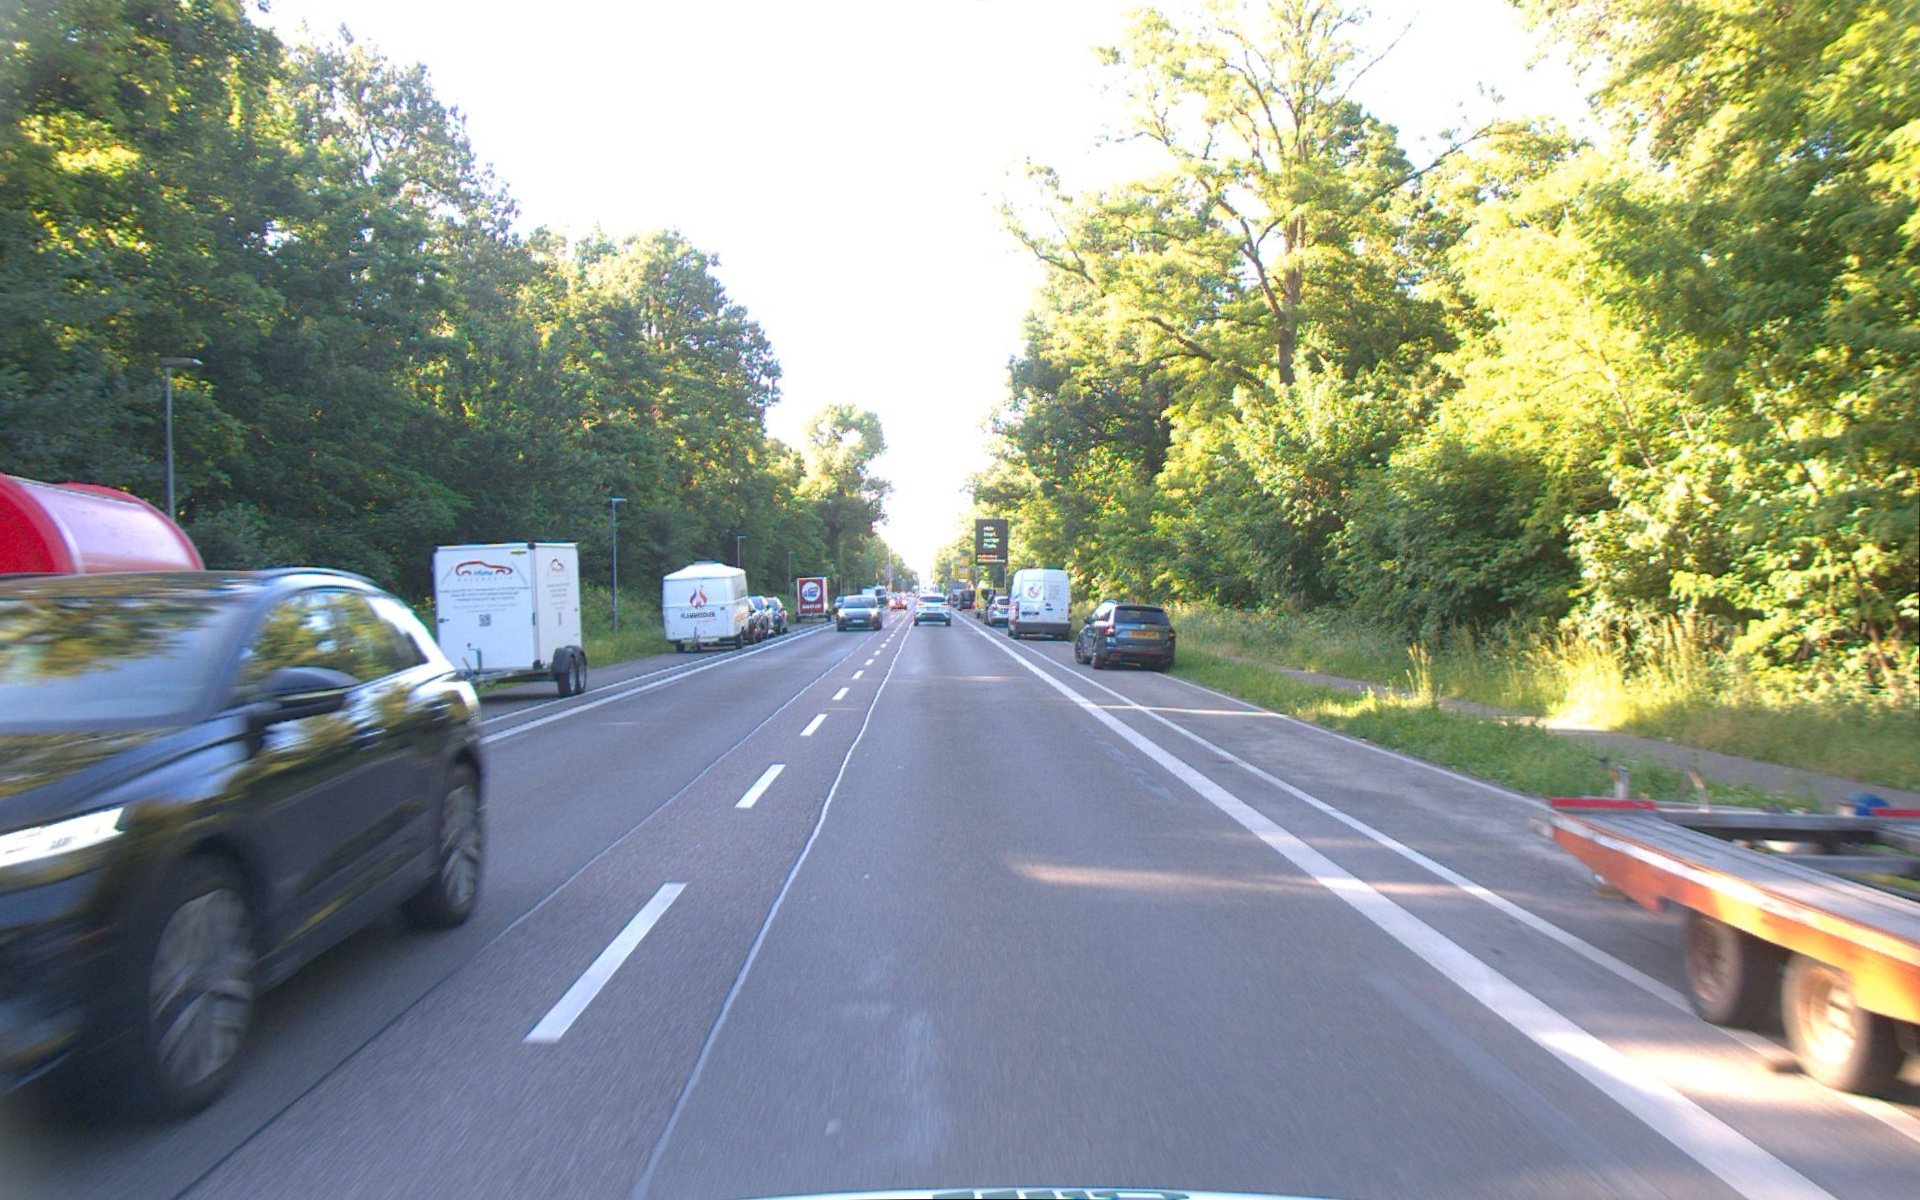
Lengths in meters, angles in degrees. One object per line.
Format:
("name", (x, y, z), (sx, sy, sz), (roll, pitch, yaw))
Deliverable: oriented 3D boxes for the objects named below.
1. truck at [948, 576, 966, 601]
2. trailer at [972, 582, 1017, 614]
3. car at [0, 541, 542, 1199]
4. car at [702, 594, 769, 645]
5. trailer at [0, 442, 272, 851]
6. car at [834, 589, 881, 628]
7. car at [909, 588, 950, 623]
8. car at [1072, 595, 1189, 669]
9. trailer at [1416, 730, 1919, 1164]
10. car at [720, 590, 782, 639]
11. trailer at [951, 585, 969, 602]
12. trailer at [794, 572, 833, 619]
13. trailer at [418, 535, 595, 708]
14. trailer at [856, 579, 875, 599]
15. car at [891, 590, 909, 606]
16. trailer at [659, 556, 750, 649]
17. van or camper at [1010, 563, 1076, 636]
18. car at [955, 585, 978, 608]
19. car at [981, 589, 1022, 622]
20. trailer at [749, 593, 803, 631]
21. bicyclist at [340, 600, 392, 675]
("truck", (-0.395, -1.566, 232.791), (2.454, 3.425, 7.106), (1, 0, -1))
("trailer", (2.307, -0.144, 109.028), (1.921, 2.058, 3.846), (0, 0, 18))
("car", (-3.015, 0.688, 6.212), (1.781, 1.614, 4.458), (-1, 0, -1))
("car", (-7.412, 0.627, 54.856), (1.637, 1.521, 4.193), (-4, 0, -1))
("trailer", (-6.630, 0.288, 11.933), (2.026, 2.524, 3.558), (-1, 0, -4))
("car", (-4.335, 0.350, 70.451), (1.782, 1.559, 4.529), (-1, 0, -1))
("car", (-1.494, 0.253, 80.500), (1.953, 1.668, 3.999), (-1, 0, -1))
("car", (3.716, 0.671, 36.916), (1.798, 1.445, 4.593), (2, 0, -4))
("trailer", (3.747, 1.129, 6.289), (2.383, 0.812, 5.658), (1, 0, -1))
("car", (-7.675, 0.516, 61.099), (1.637, 1.601, 5.126), (-4, 0, -1))
("trailer", (0.012, -0.791, 202.388), (1.580, 2.149, 2.397), (0, 0, 19))
("trailer", (-8.621, -0.269, 97.434), (1.953, 2.667, 4.085), (-1, 0, -1))
("trailer", (-7.115, 0.307, 26.287), (2.026, 2.524, 3.558), (-1, 0, -4))
("trailer", (-11.596, -1.359, 202.983), (2.032, 2.333, 3.487), (-1, 0, 1))
("car", (-5.696, -0.237, 157.175), (1.571, 1.445, 3.517), (-2, 0, -1))
("trailer", (-7.496, 0.052, 48.928), (2.300, 2.573, 4.340), (-1, 0, -4))
("van or camper", (2.957, -0.041, 60.213), (2.082, 2.526, 6.304), (0, 0, 0))
("car", (0.632, -0.331, 158.332), (2.071, 2.049, 5.039), (2, 0, -1))
("car", (2.003, 0.269, 80.922), (1.700, 1.514, 4.399), (2, 0, -2))
("trailer", (-7.561, 0.476, 68.358), (1.804, 1.492, 4.465), (0, 0, -1))
("bicyclist", (-11.200, 0.706, 31.208), (0.657, 1.388, 0.905), (1, 0, -1))
